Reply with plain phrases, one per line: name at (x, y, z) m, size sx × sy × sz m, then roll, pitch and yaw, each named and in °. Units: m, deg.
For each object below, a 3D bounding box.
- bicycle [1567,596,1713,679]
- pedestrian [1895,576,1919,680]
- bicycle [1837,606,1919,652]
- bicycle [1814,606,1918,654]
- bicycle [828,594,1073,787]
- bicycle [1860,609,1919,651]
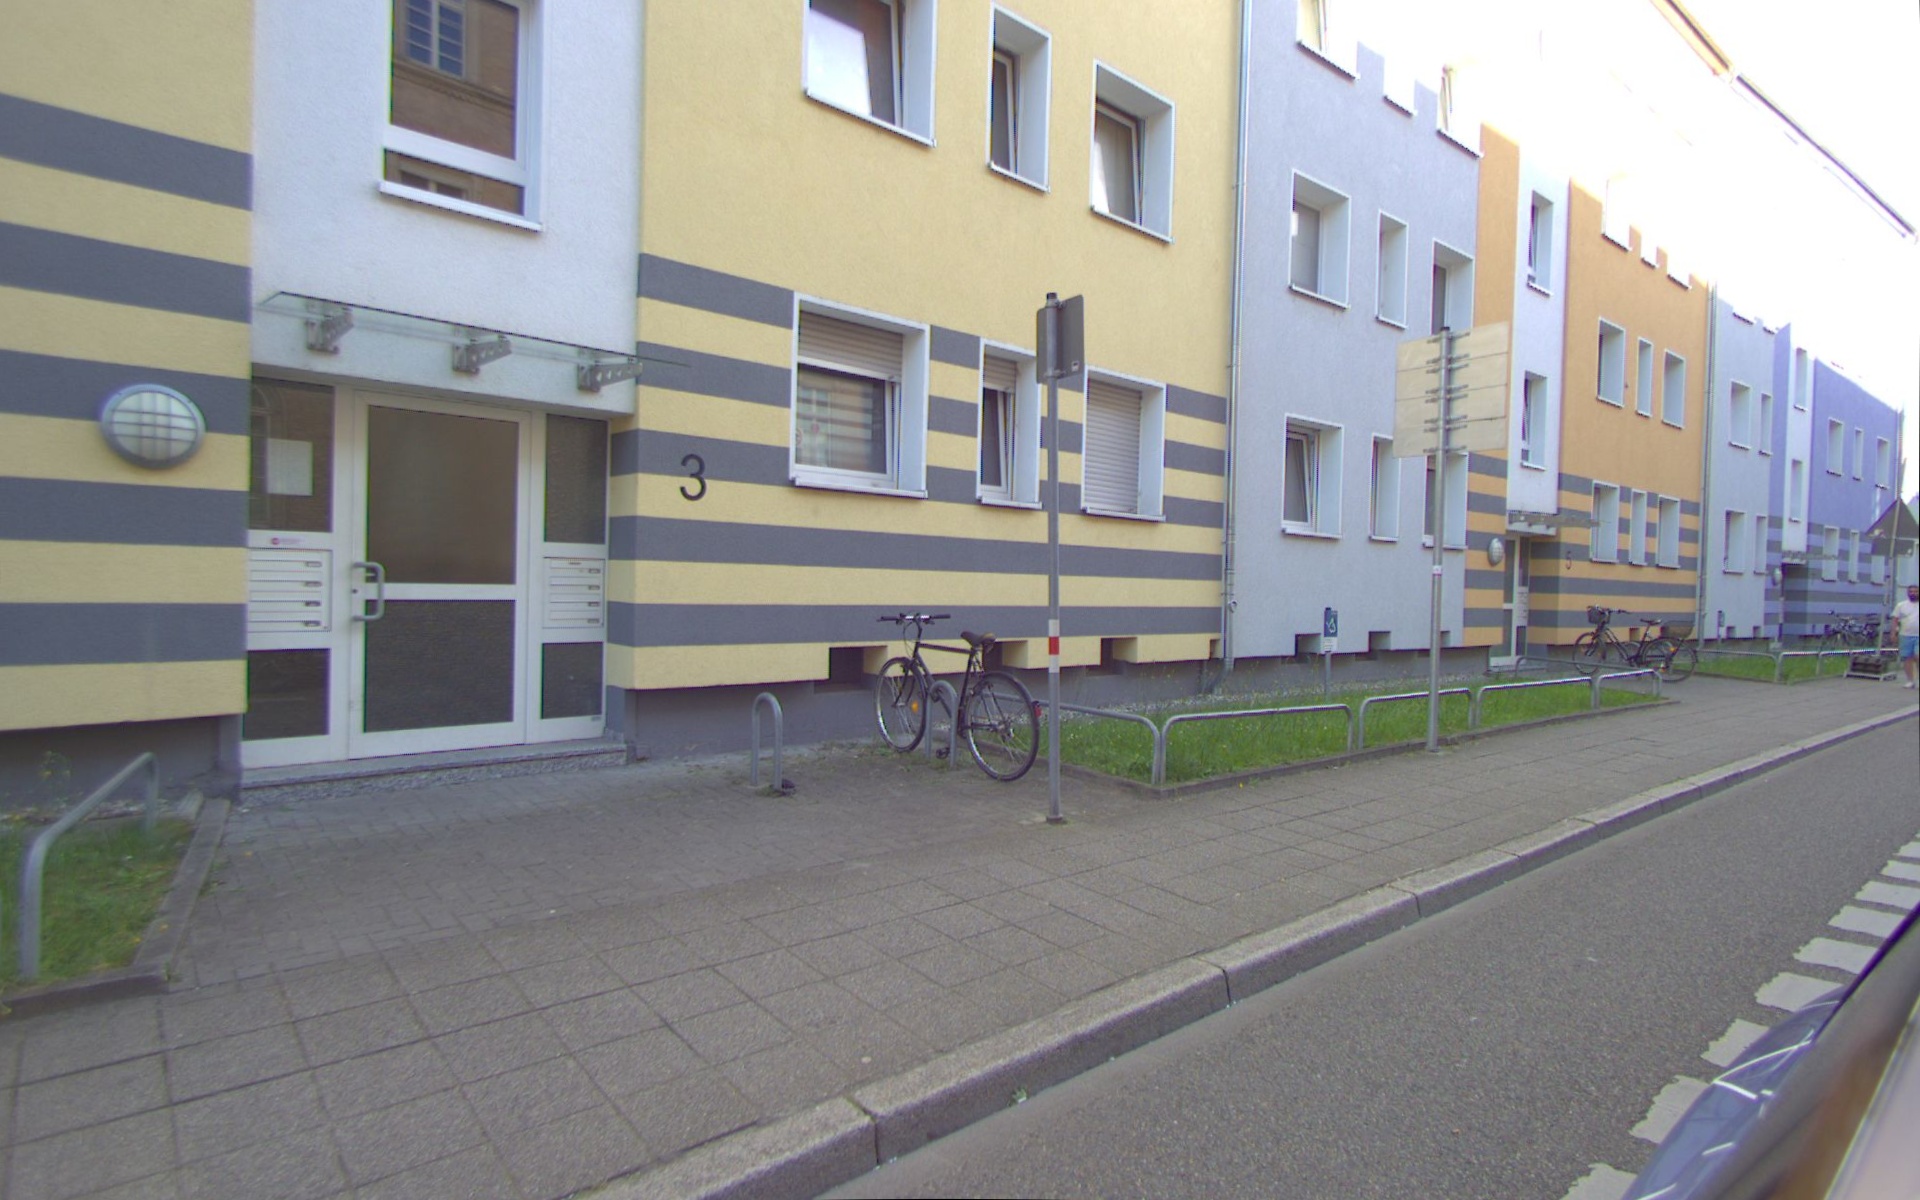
bicycle at (10.692, 0.555, 15.966) m, size 0.574 × 1.138 × 1.775 m, roll 0°, pitch 4°, yaw -42°
pedestrian at (16.108, 0.468, 16.834) m, size 0.819 × 1.692 × 0.644 m, roll 1°, pitch 2°, yaw -39°
bicycle at (23.353, 0.723, 25.494) m, size 0.572 × 1.007 × 1.779 m, roll 1°, pitch 3°, yaw -33°
bicycle at (22.190, 0.719, 24.825) m, size 0.572 × 1.007 × 1.779 m, roll 1°, pitch 3°, yaw -33°
bicycle at (-0.121, 0.544, 6.944) m, size 1.773 × 1.061 × 0.574 m, roll 5°, pitch 4°, yaw 45°
bicycle at (24.056, 0.779, 25.602) m, size 0.572 × 0.950 × 1.779 m, roll 1°, pitch 3°, yaw -33°
